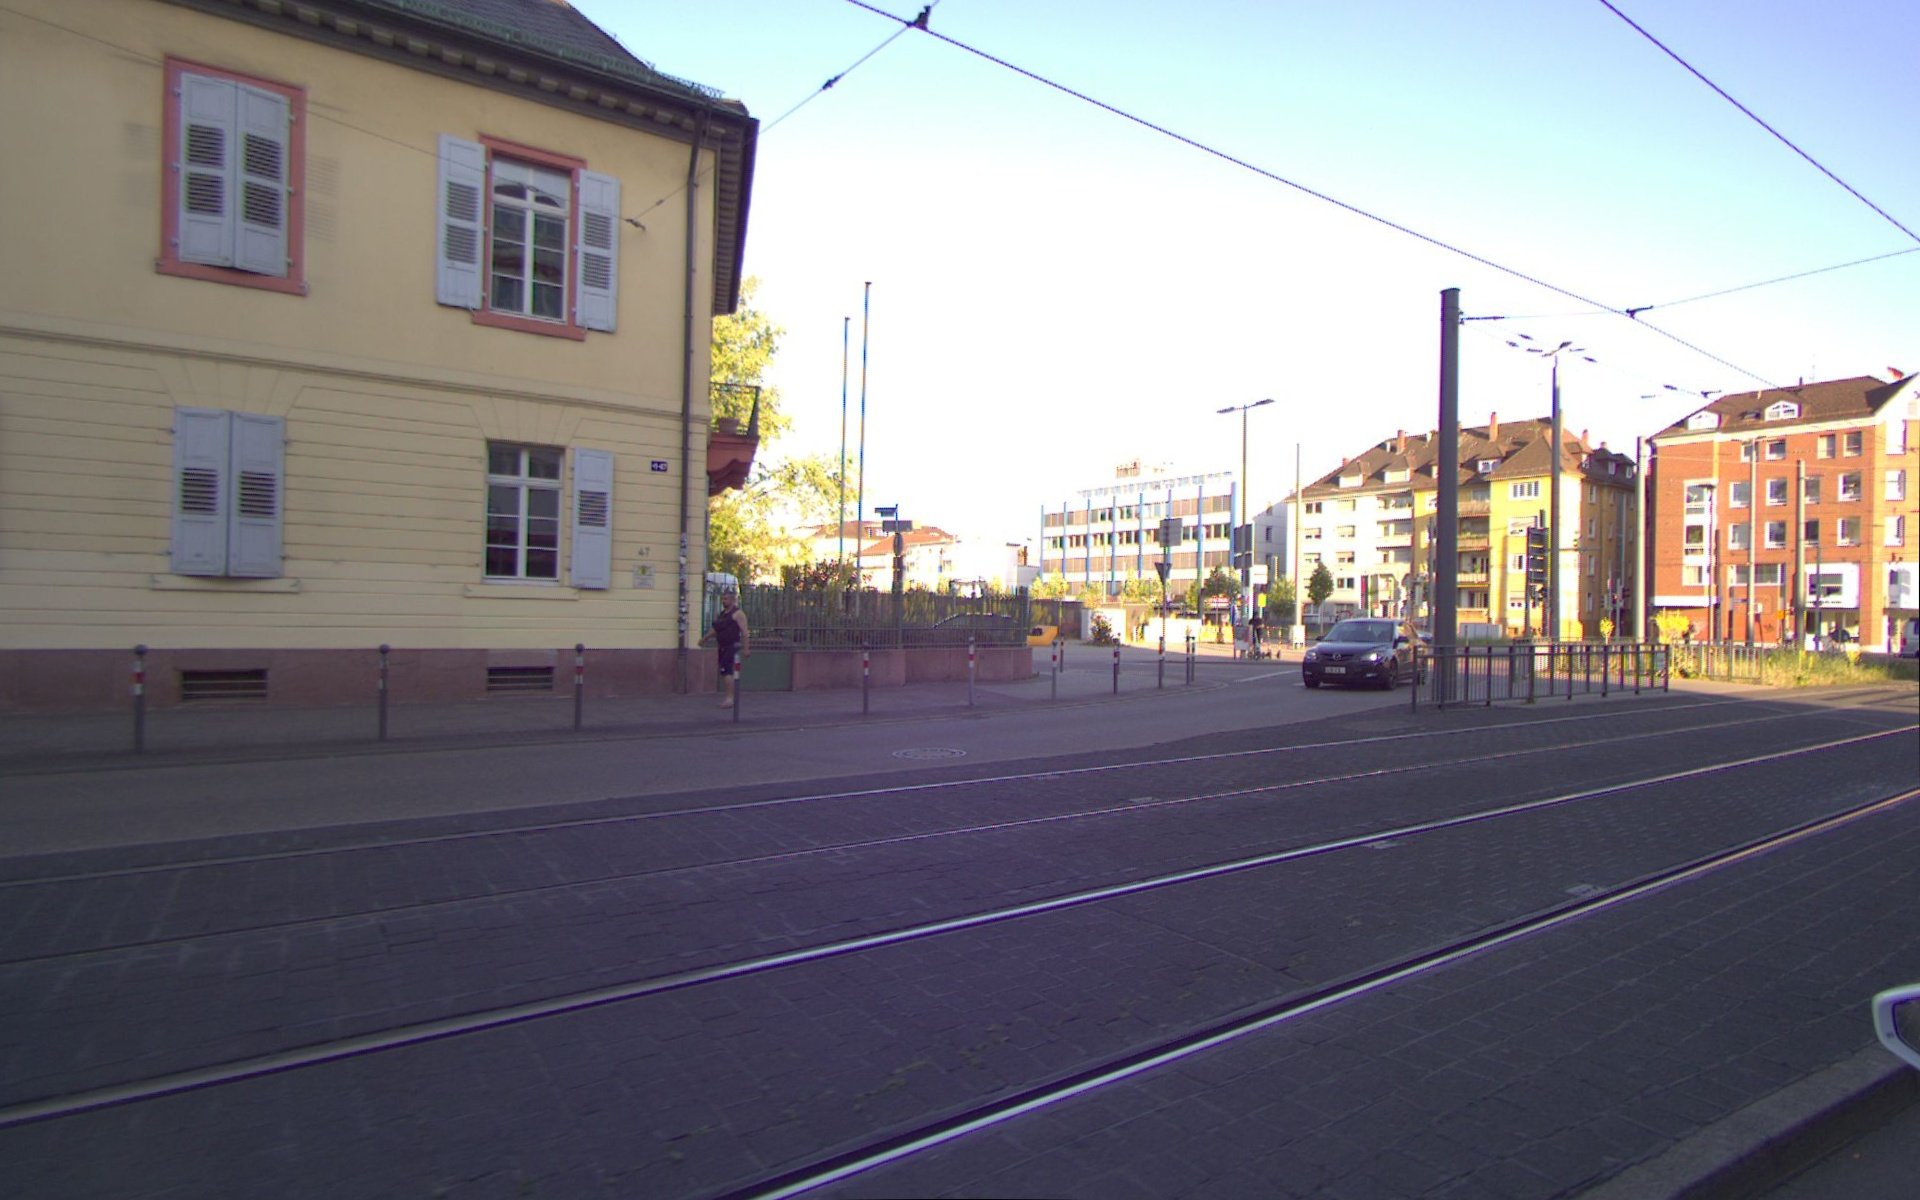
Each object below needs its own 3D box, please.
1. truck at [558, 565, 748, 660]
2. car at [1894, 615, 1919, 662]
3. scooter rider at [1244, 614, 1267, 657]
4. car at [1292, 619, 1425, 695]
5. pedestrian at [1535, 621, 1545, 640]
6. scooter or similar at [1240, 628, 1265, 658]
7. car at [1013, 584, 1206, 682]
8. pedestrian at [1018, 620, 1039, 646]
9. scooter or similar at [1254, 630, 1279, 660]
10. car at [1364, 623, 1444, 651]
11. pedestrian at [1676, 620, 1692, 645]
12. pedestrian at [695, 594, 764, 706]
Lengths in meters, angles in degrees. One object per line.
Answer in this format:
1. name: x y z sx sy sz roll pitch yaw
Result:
1. truck: -9.885 0.379 32.638 5.357 2.735 2.197 2 1 2
2. car: 42.966 1.676 42.782 4.633 2.040 1.988 0 -1 44
3. scooter rider: 11.236 1.351 38.221 0.577 1.614 0.655 3 1 37
4. car: 8.562 1.149 21.366 1.743 1.394 4.210 1 -1 34
5. pedestrian: 51.484 2.707 89.208 0.495 1.664 0.547 2 1 -33
6. scooter or similar: 11.055 1.624 37.938 0.419 1.077 1.619 3 1 33
7. car: 3.372 0.703 23.028 3.943 2.040 1.989 0 -1 43
8. pedestrian: 3.380 1.625 49.836 0.697 1.227 0.719 2 1 -33
9. scooter or similar: 11.481 1.671 37.605 0.419 1.097 1.619 3 1 33
10. car: 28.621 2.366 64.817 1.983 1.572 4.303 2 0 -39
11. pedestrian: 53.505 2.411 74.220 0.656 1.766 0.689 3 0 -13
12. pedestrian: -3.322 0.703 14.468 0.712 1.556 0.714 2 -1 -36
